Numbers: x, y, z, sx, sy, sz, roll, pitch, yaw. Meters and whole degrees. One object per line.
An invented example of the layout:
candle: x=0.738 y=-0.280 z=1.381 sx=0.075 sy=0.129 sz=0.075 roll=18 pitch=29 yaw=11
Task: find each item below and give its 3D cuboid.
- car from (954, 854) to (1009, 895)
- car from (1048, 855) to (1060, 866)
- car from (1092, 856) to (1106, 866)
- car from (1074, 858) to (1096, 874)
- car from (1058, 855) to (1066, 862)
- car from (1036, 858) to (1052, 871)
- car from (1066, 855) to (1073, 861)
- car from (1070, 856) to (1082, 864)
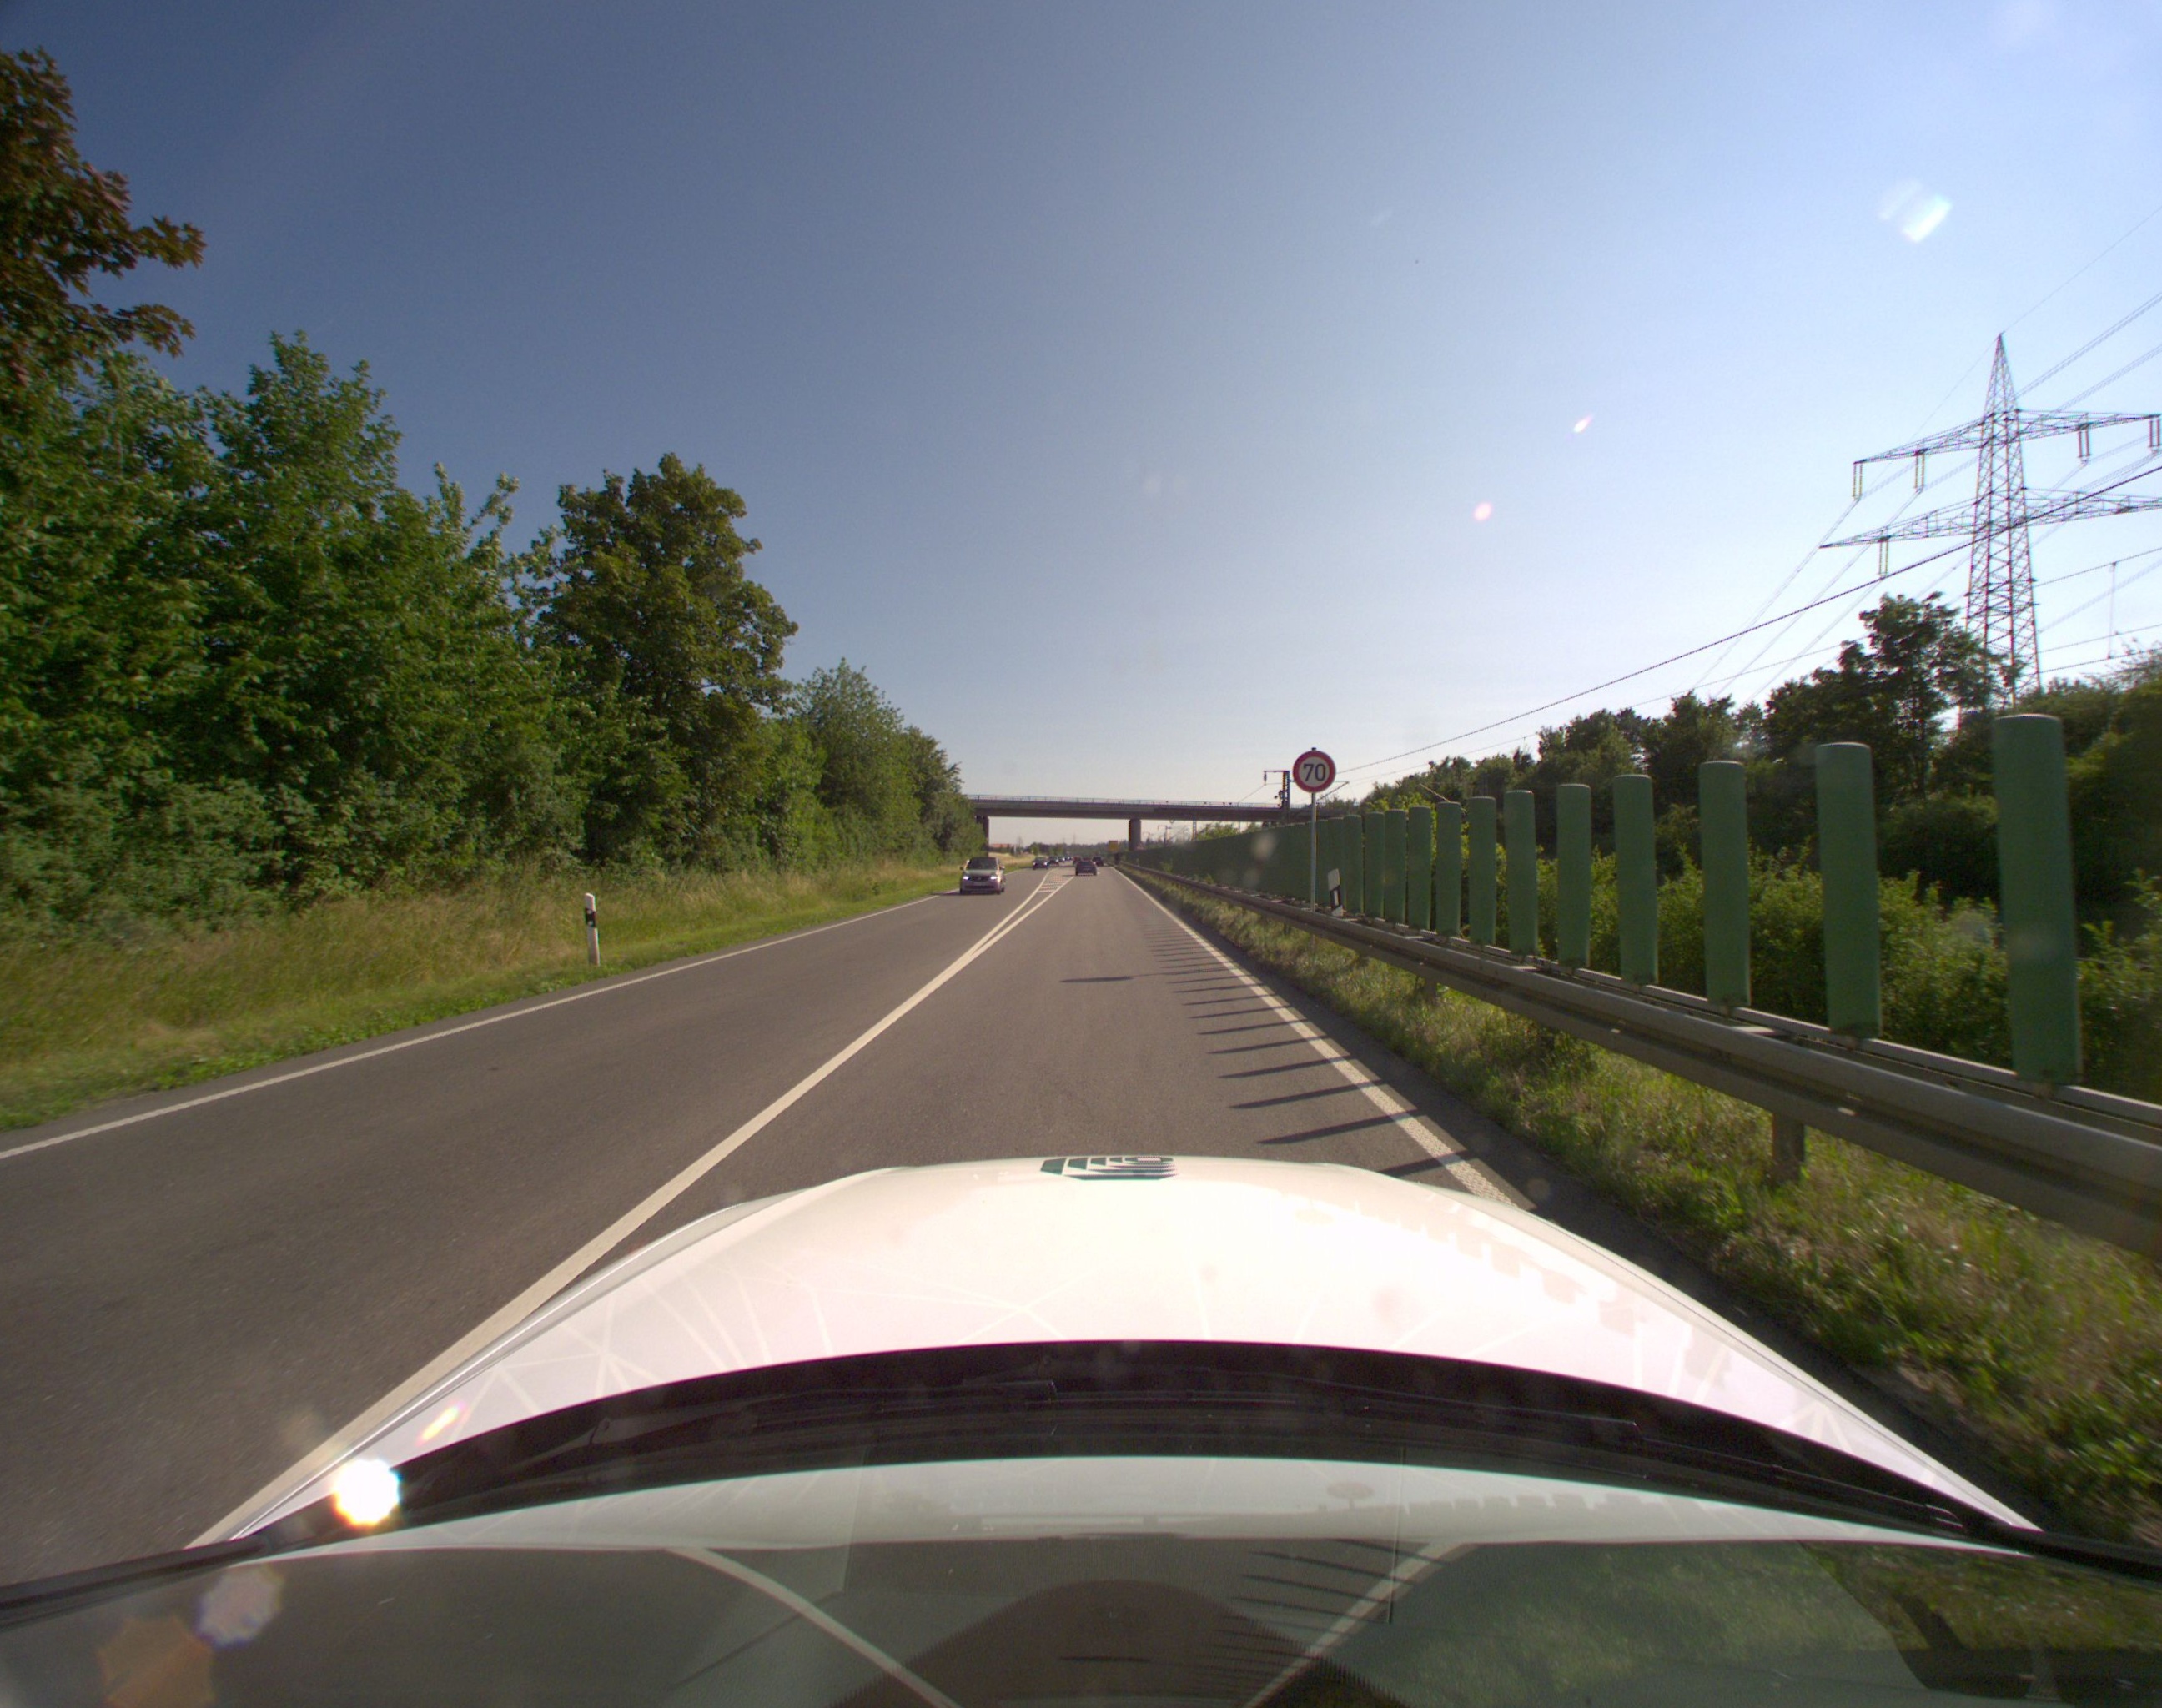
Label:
car: x=-4.120 y=0.811 z=34.307 sx=1.851 sy=1.559 sz=3.998 roll=-1 pitch=0 yaw=-1
car: x=-4.414 y=1.056 z=133.954 sx=1.917 sy=1.593 sz=4.427 roll=-2 pitch=0 yaw=-2
car: x=2.566 y=0.991 z=114.155 sx=1.888 sy=1.418 sz=4.000 roll=-1 pitch=-1 yaw=1
car: x=0.360 y=0.942 z=64.284 sx=1.657 sy=1.261 sz=4.000 roll=-1 pitch=-1 yaw=1
car: x=-4.235 y=1.058 z=183.875 sx=1.840 sy=1.630 sz=3.998 roll=-1 pitch=0 yaw=-1
car: x=-4.242 y=1.222 z=94.203 sx=1.744 sy=1.482 sz=3.998 roll=-1 pitch=0 yaw=-1
car: x=-3.175 y=1.086 z=227.721 sx=1.888 sy=1.630 sz=4.000 roll=-1 pitch=-1 yaw=1
car: x=-0.867 y=1.045 z=137.875 sx=1.888 sy=1.418 sz=4.000 roll=-1 pitch=-1 yaw=1
